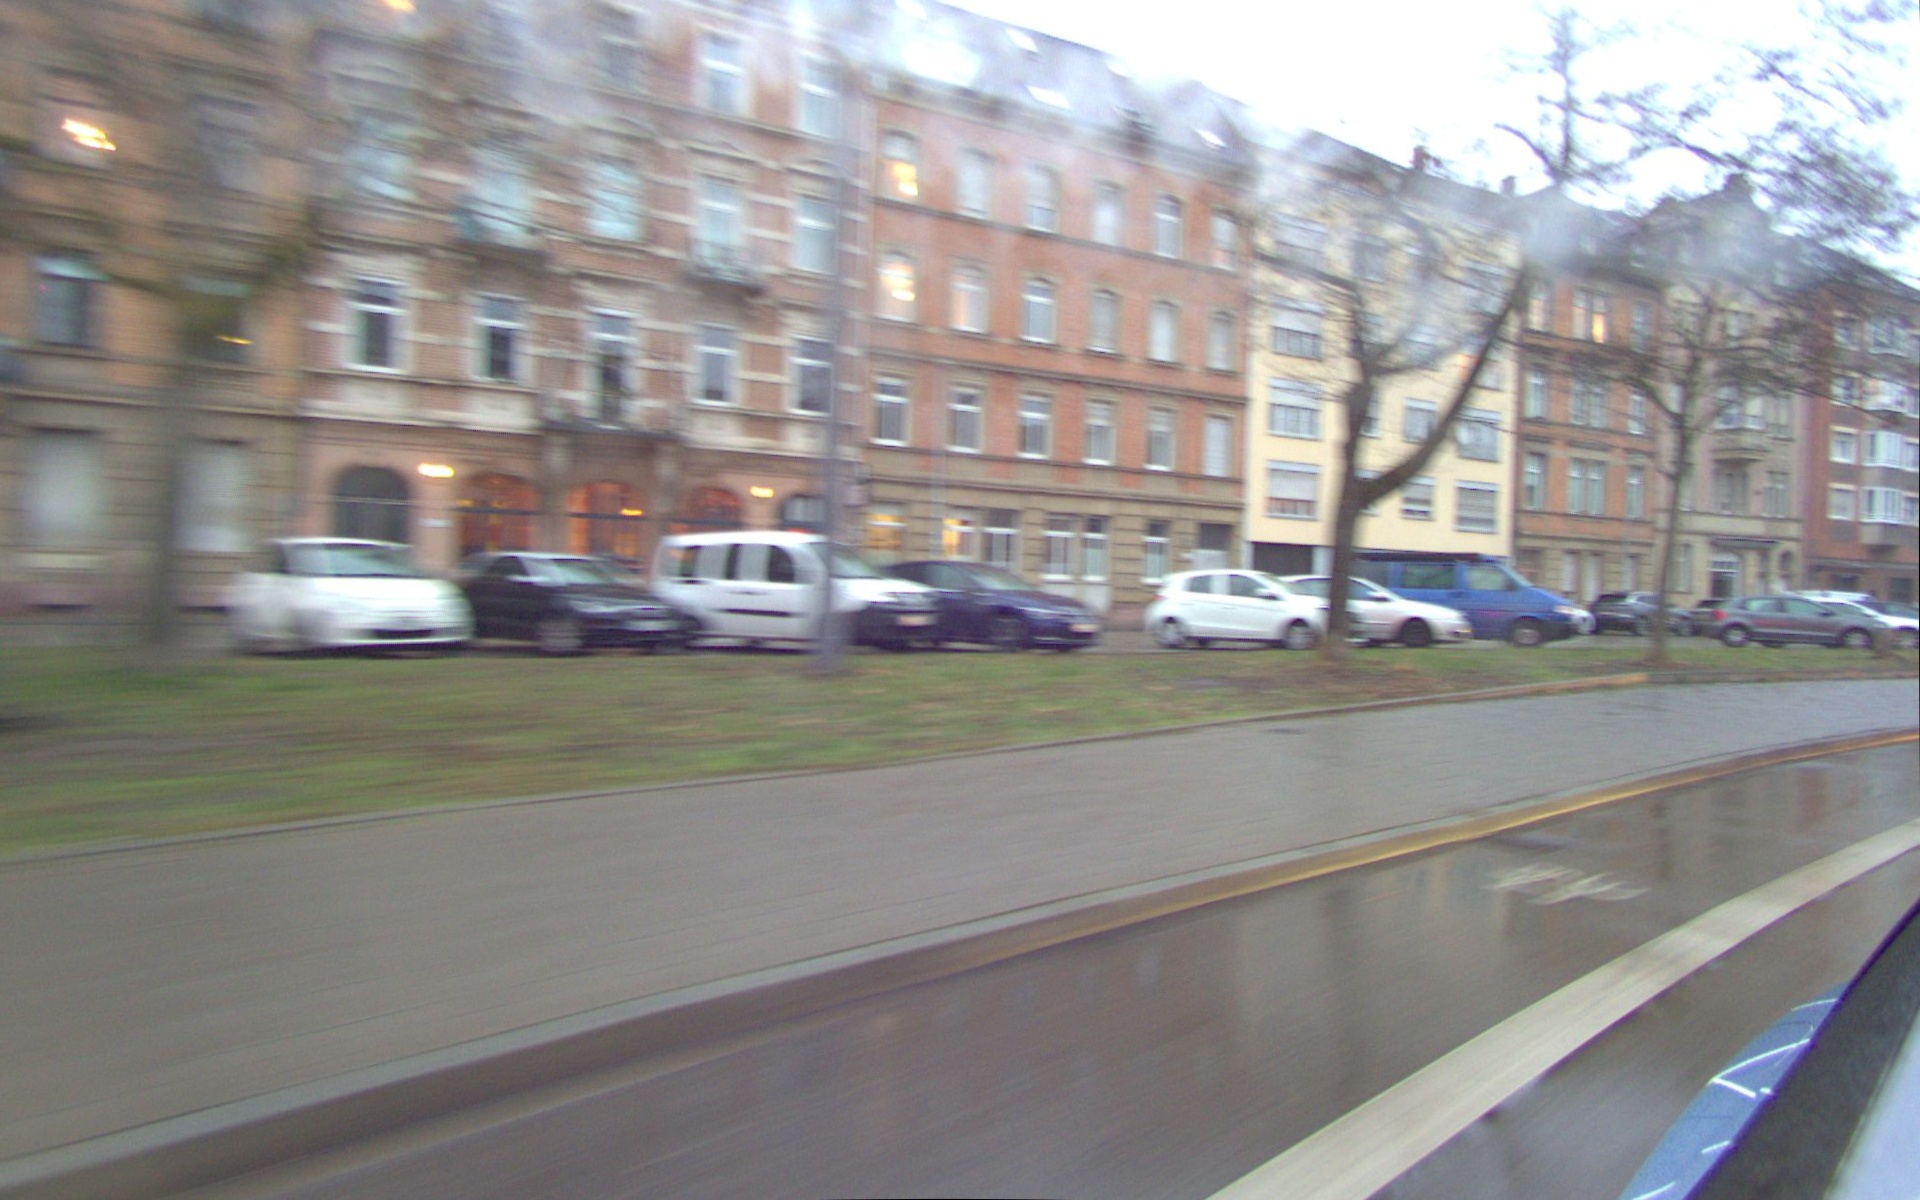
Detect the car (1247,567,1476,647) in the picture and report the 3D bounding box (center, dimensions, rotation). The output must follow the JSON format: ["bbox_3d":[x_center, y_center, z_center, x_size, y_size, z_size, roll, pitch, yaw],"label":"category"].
[{"bbox_3d":[7.789,0.155,19.711,3.964,1.433,1.625,-1,-1,29],"label":"car"}]

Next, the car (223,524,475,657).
[{"bbox_3d":[-7.775,-0.104,12.791,3.447,1.461,1.592,0,0,37],"label":"car"}]

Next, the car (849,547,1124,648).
[{"bbox_3d":[0.345,-0.078,15.962,4.041,1.250,1.747,5,2,37],"label":"car"}]

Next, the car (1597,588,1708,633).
[{"bbox_3d":[25.601,0.374,37.412,3.790,1.562,1.477,1,1,-22],"label":"car"}]

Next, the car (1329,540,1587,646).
[{"bbox_3d":[10.329,-0.132,21.224,4.680,2.008,1.780,0,-1,29],"label":"car"}]

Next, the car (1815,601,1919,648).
[{"bbox_3d":[27.369,0.695,29.460,3.752,1.348,1.577,0,-1,42],"label":"car"}]

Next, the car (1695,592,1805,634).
[{"bbox_3d":[31.314,0.491,40.132,3.916,1.562,1.697,0,0,-22],"label":"car"}]

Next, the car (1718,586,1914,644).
[{"bbox_3d":[22.534,0.393,26.855,3.852,1.424,1.672,-1,-1,37],"label":"car"}]

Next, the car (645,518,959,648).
[{"bbox_3d":[-2.433,-0.327,14.995,4.634,1.612,1.756,4,2,35],"label":"car"}]

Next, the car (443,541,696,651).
[{"bbox_3d":[-5.513,-0.068,14.227,3.408,1.368,1.644,1,0,33],"label":"car"}]

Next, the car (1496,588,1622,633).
[{"bbox_3d":[21.214,0.355,35.863,4.090,1.497,1.755,0,-1,-24],"label":"car"}]

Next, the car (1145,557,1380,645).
[{"bbox_3d":[5.483,0.047,18.538,3.756,1.451,1.736,-1,-1,40],"label":"car"}]

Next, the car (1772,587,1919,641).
[{"bbox_3d":[25.064,0.371,28.155,3.753,1.349,1.577,2,2,42],"label":"car"}]

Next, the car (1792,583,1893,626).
[{"bbox_3d":[36.590,0.192,41.981,3.392,1.725,1.678,0,-1,-20],"label":"car"}]

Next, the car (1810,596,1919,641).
[{"bbox_3d":[28.870,0.580,31.334,3.744,1.294,1.581,2,1,36],"label":"car"}]
